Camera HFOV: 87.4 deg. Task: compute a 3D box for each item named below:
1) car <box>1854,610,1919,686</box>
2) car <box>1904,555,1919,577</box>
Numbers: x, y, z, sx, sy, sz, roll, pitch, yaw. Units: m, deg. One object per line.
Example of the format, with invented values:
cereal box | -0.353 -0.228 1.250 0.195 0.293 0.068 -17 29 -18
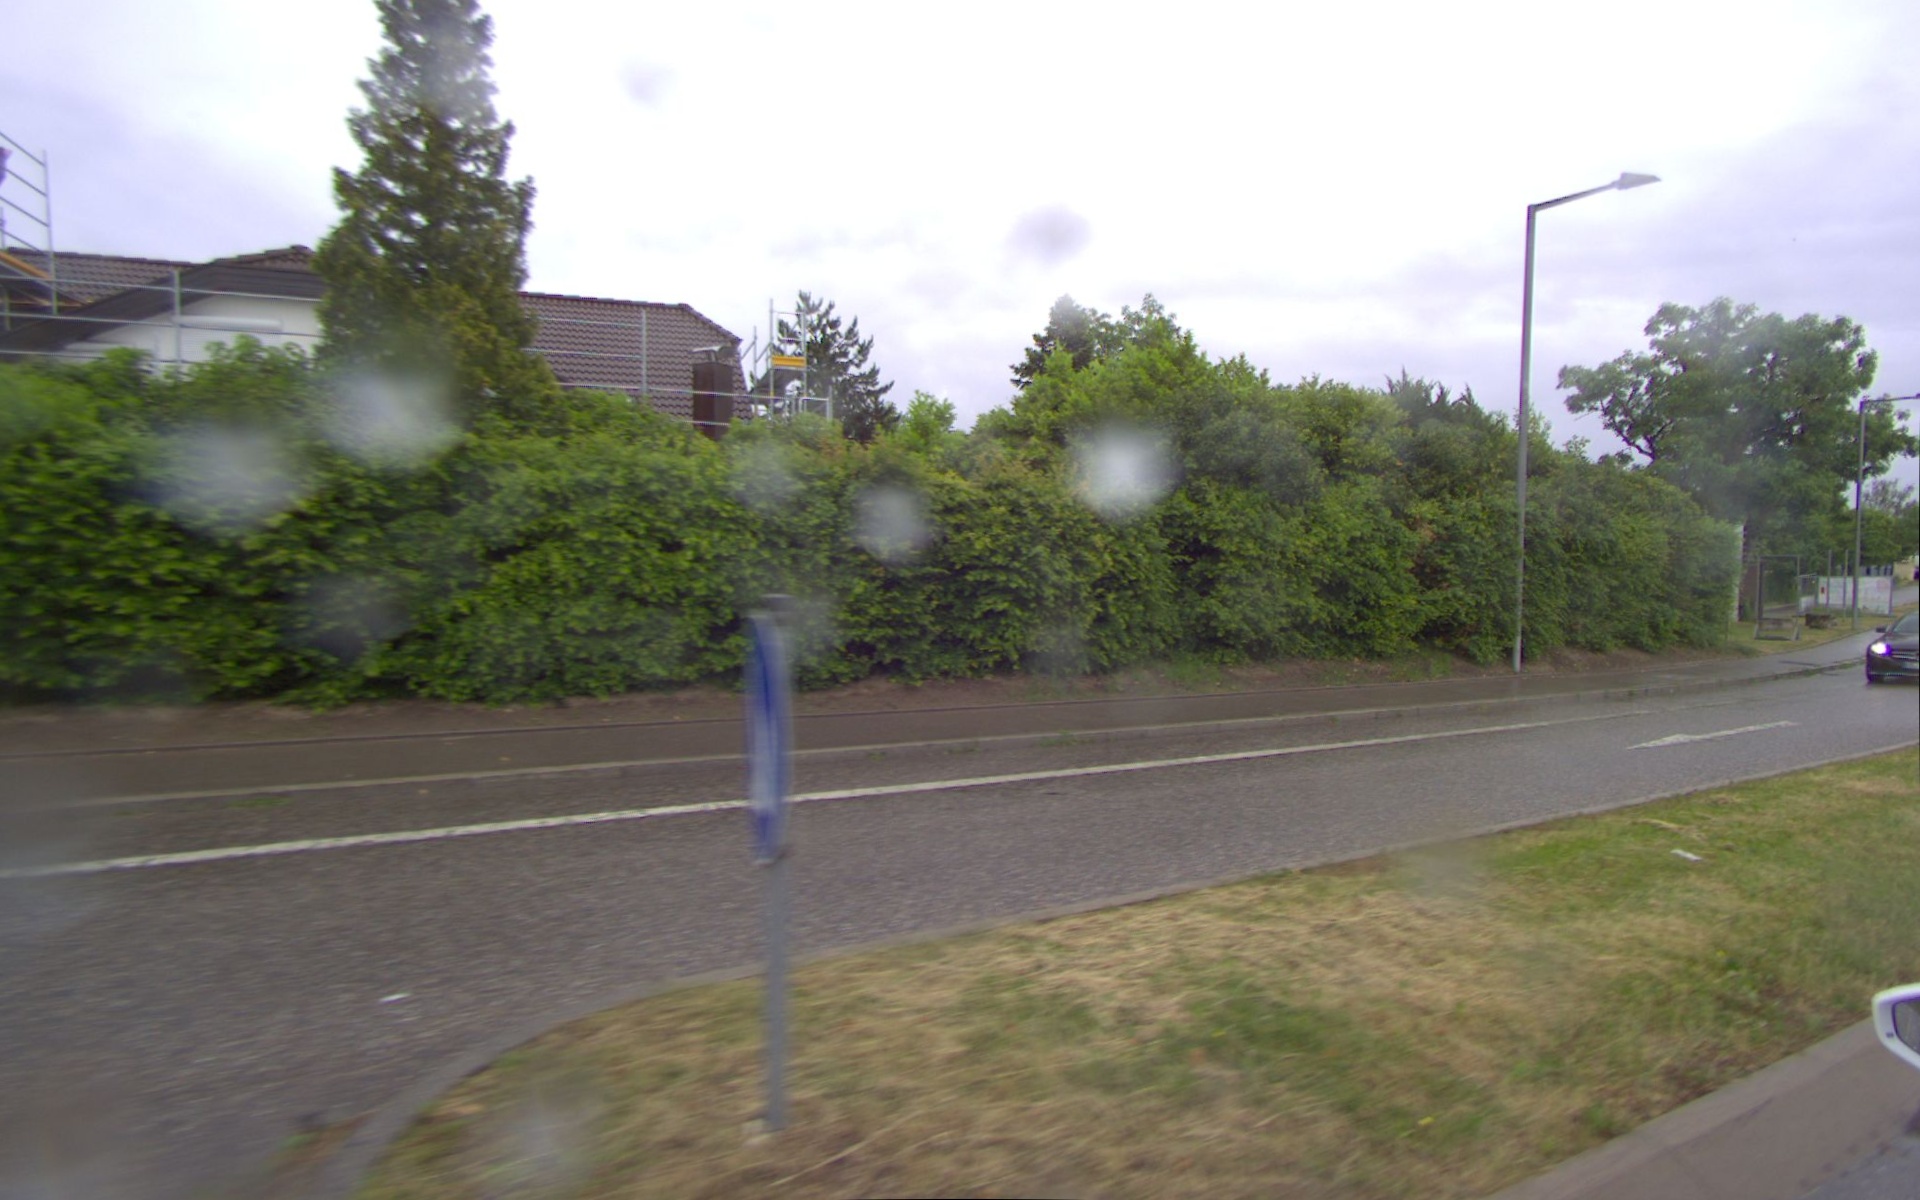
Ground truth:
car | 19.952 0.926 20.491 4.378 1.433 1.951 0 -1 -40
car | 108.188 -3.745 110.796 1.983 2.436 5.631 0 1 -38
